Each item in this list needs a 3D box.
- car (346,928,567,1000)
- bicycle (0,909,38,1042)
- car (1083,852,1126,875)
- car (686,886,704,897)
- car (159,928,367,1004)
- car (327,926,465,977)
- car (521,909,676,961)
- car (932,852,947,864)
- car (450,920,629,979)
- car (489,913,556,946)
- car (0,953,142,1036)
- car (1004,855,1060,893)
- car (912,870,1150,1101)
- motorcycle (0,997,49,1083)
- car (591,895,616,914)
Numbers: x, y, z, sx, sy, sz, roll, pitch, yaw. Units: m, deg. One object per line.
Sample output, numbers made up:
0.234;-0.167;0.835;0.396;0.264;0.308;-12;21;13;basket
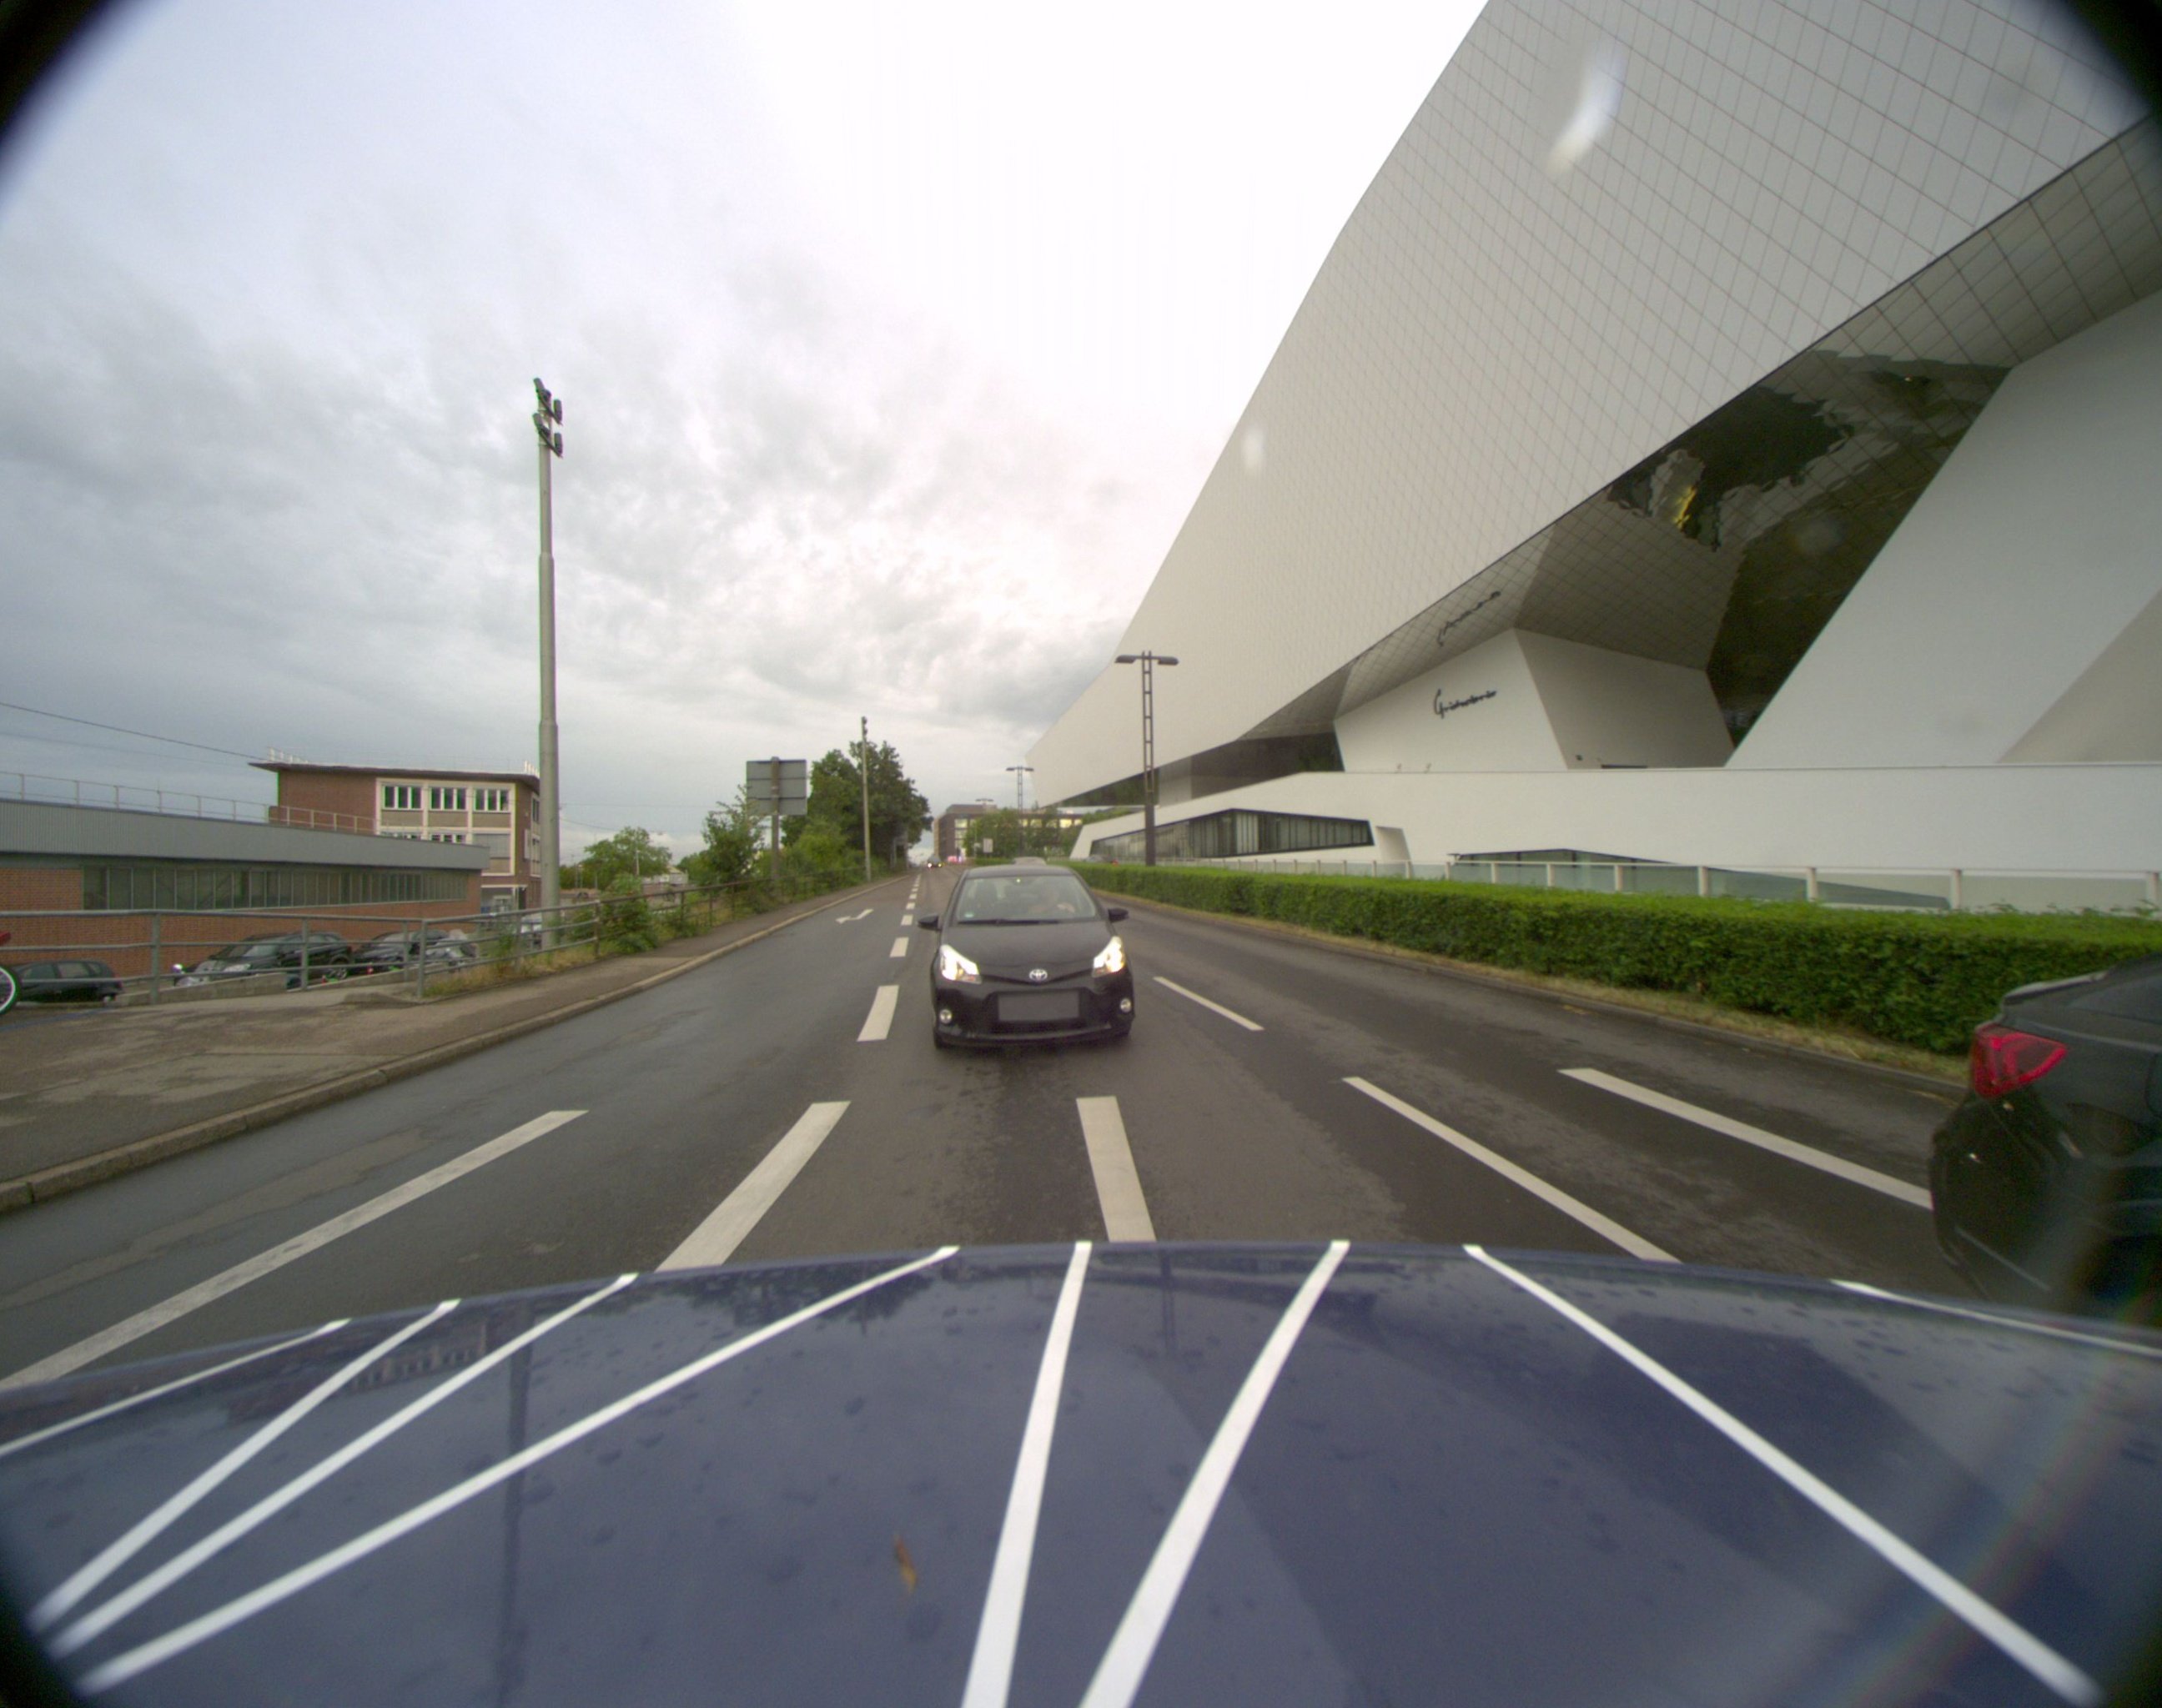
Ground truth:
-14.879;2.616;18.231;3.995;1.417;1.722;-2;-1;5;car
-10.392;1.094;6.579;1.547;1.148;0.450;0;2;-27;bicycle
1.477;0.566;49.101;1.726;1.330;3.995;-2;1;-14;car
-54.926;5.337;108.036;1.724;1.417;3.991;-1;-1;-34;car
-24.440;3.267;22.988;1.784;1.657;4.503;-2;-1;-7;car
-25.693;3.604;28.737;1.720;1.396;4.273;-2;-1;-7;car
-15.566;2.607;24.625;3.995;1.417;1.722;-2;-1;5;car
-18.277;0.476;98.065;1.750;1.466;4.064;-2;1;-13;car
-15.546;2.718;21.924;3.995;1.417;1.722;-2;-1;5;car
-30.194;4.045;41.192;1.735;1.380;3.994;-2;-1;-19;car
-23.193;3.075;16.217;1.721;1.417;3.997;-2;-1;-10;car
-2.216;0.832;33.231;1.819;1.430;4.297;-2;1;-12;car
-0.627;0.993;7.560;1.695;1.498;4.008;-2;1;-8;car
-13.295;2.243;8.759;1.618;0.916;0.420;-3;1;-24;motorcycle
-42.088;4.436;67.027;1.723;1.417;3.991;-1;-1;-30;car
